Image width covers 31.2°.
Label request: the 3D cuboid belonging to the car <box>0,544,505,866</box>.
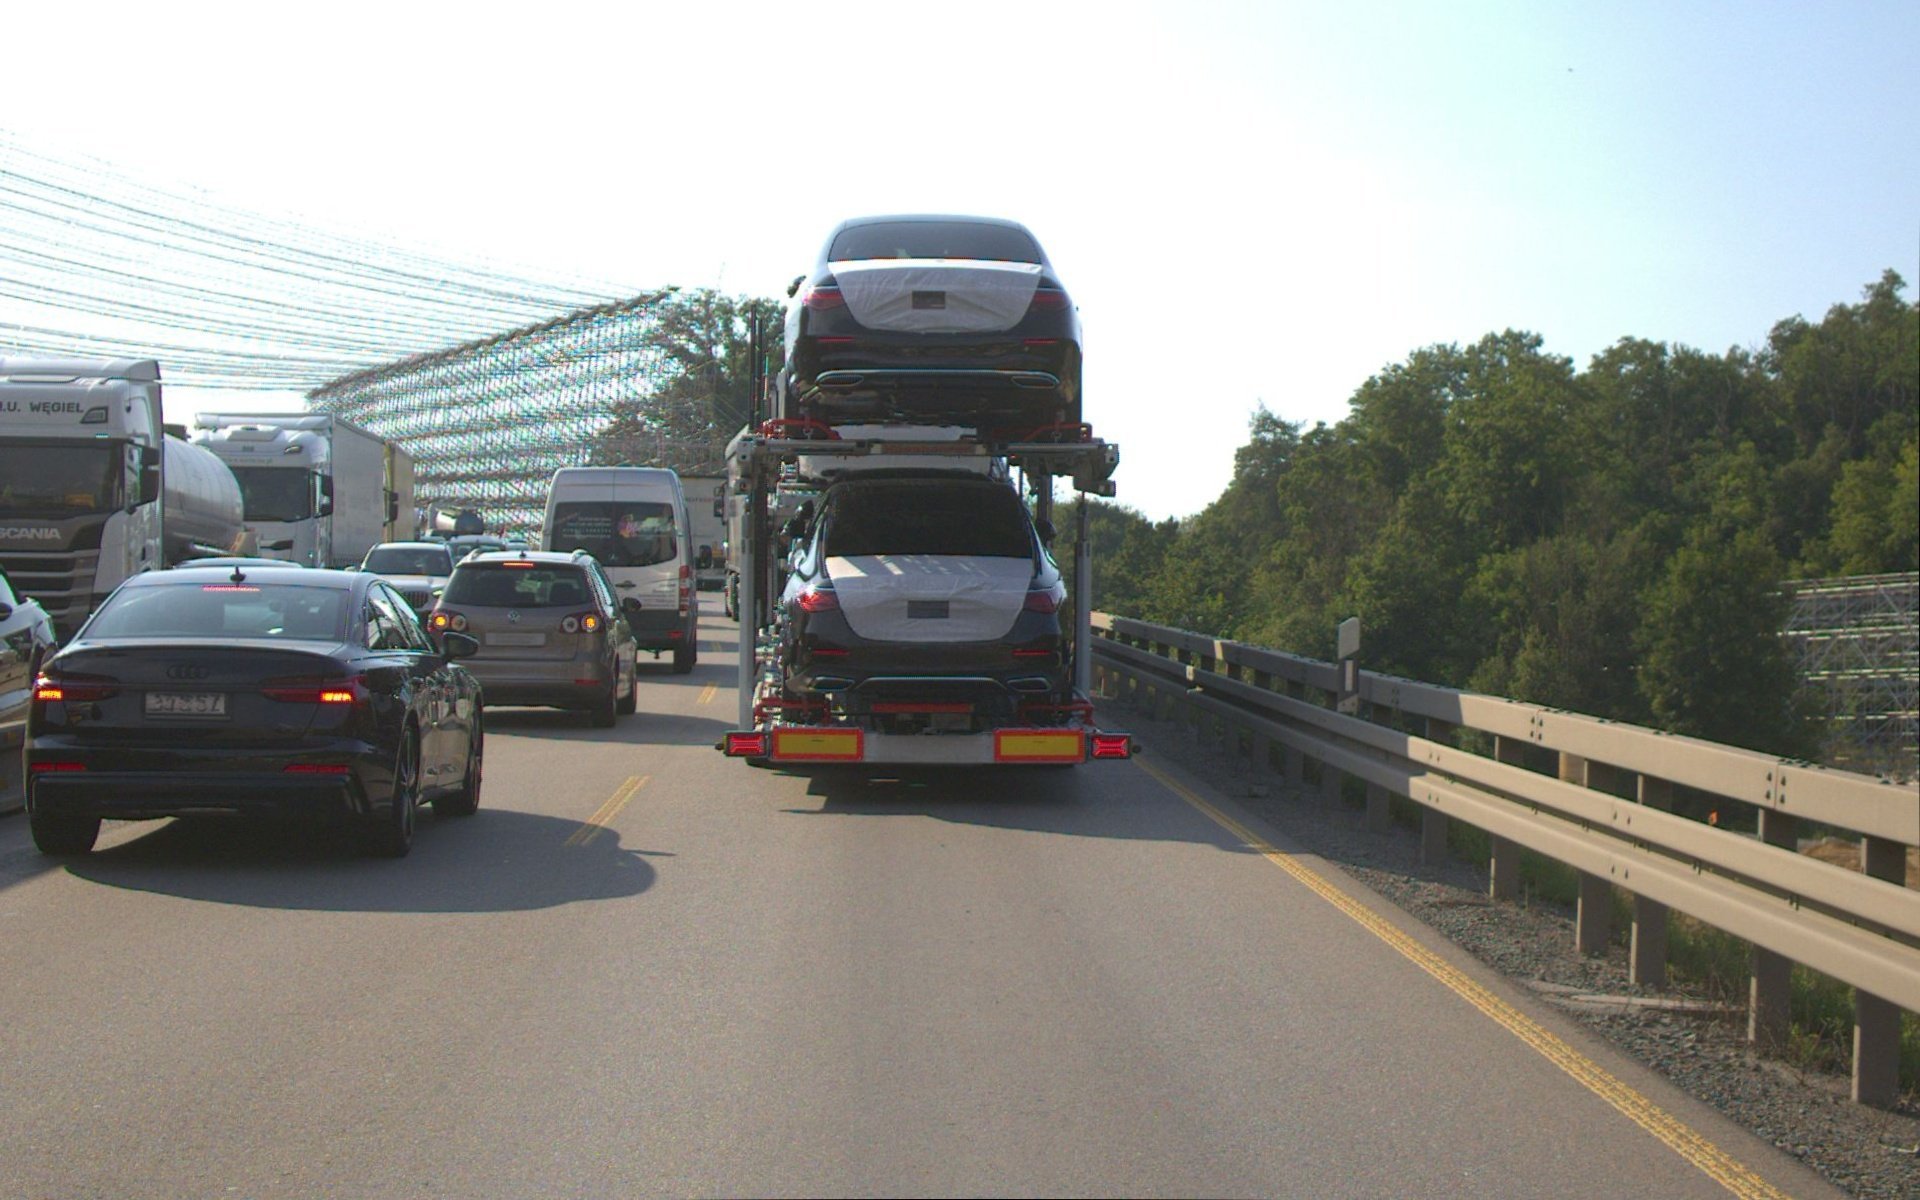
[{"bbox_3d":[-3.720,0.484,18.565,1.940,1.475,5.222,0,0,-1],"label":"car"}]

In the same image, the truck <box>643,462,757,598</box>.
[{"bbox_3d":[-9.358,-2.560,125.041,3.648,4.661,11.696,1,1,-2],"label":"truck"}]

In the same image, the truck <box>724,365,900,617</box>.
[{"bbox_3d":[-3.096,-2.149,69.949,3.228,4.661,11.697,1,1,-3],"label":"truck"}]

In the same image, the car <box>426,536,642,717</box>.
[{"bbox_3d":[-3.916,0.244,32.149,1.700,1.581,4.147,0,0,-3],"label":"car"}]

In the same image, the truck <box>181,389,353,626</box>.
[{"bbox_3d":[-13.035,-1.643,65.030,2.443,4.257,6.322,0,0,-5],"label":"truck"}]

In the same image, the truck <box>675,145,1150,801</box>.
[{"bbox_3d":[-0.214,-0.759,23.720,2.870,3.966,5.771,0,0,2],"label":"truck"}]

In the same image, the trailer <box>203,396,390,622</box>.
[{"bbox_3d":[-13.486,-1.682,70.772,2.453,4.251,12.147,0,0,-5],"label":"trailer"}]

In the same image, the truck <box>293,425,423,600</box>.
[{"bbox_3d":[-15.184,-2.140,87.030,2.893,4.257,5.772,0,0,-6],"label":"truck"}]

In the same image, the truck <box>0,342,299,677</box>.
[{"bbox_3d":[-11.791,-1.183,48.842,2.808,3.956,13.895,4,0,-4],"label":"truck"}]

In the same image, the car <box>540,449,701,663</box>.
[{"bbox_3d":[-4.399,-0.542,45.102,1.979,2.675,4.147,0,0,-4],"label":"car"}]

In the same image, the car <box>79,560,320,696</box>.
[{"bbox_3d":[-8.299,0.303,37.903,1.739,1.397,4.903,0,0,-2],"label":"car"}]

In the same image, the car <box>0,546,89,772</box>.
[{"bbox_3d":[-7.234,0.392,23.167,1.716,1.503,4.292,0,0,-1],"label":"car"}]

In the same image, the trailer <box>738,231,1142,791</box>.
[{"bbox_3d":[-0.402,-0.598,32.114,2.874,3.980,15.280,0,0,-2],"label":"trailer"}]

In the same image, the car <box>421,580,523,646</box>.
[{"bbox_3d":[-9.649,0.250,68.207,1.711,1.248,4.052,0,0,-4],"label":"car"}]

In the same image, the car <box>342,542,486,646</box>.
[{"bbox_3d":[-8.994,-0.099,56.936,1.846,1.642,4.560,0,0,-3],"label":"car"}]

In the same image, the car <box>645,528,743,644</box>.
[{"bbox_3d":[-4.683,-0.237,60.786,1.668,1.978,3.818,0,0,-4],"label":"car"}]
